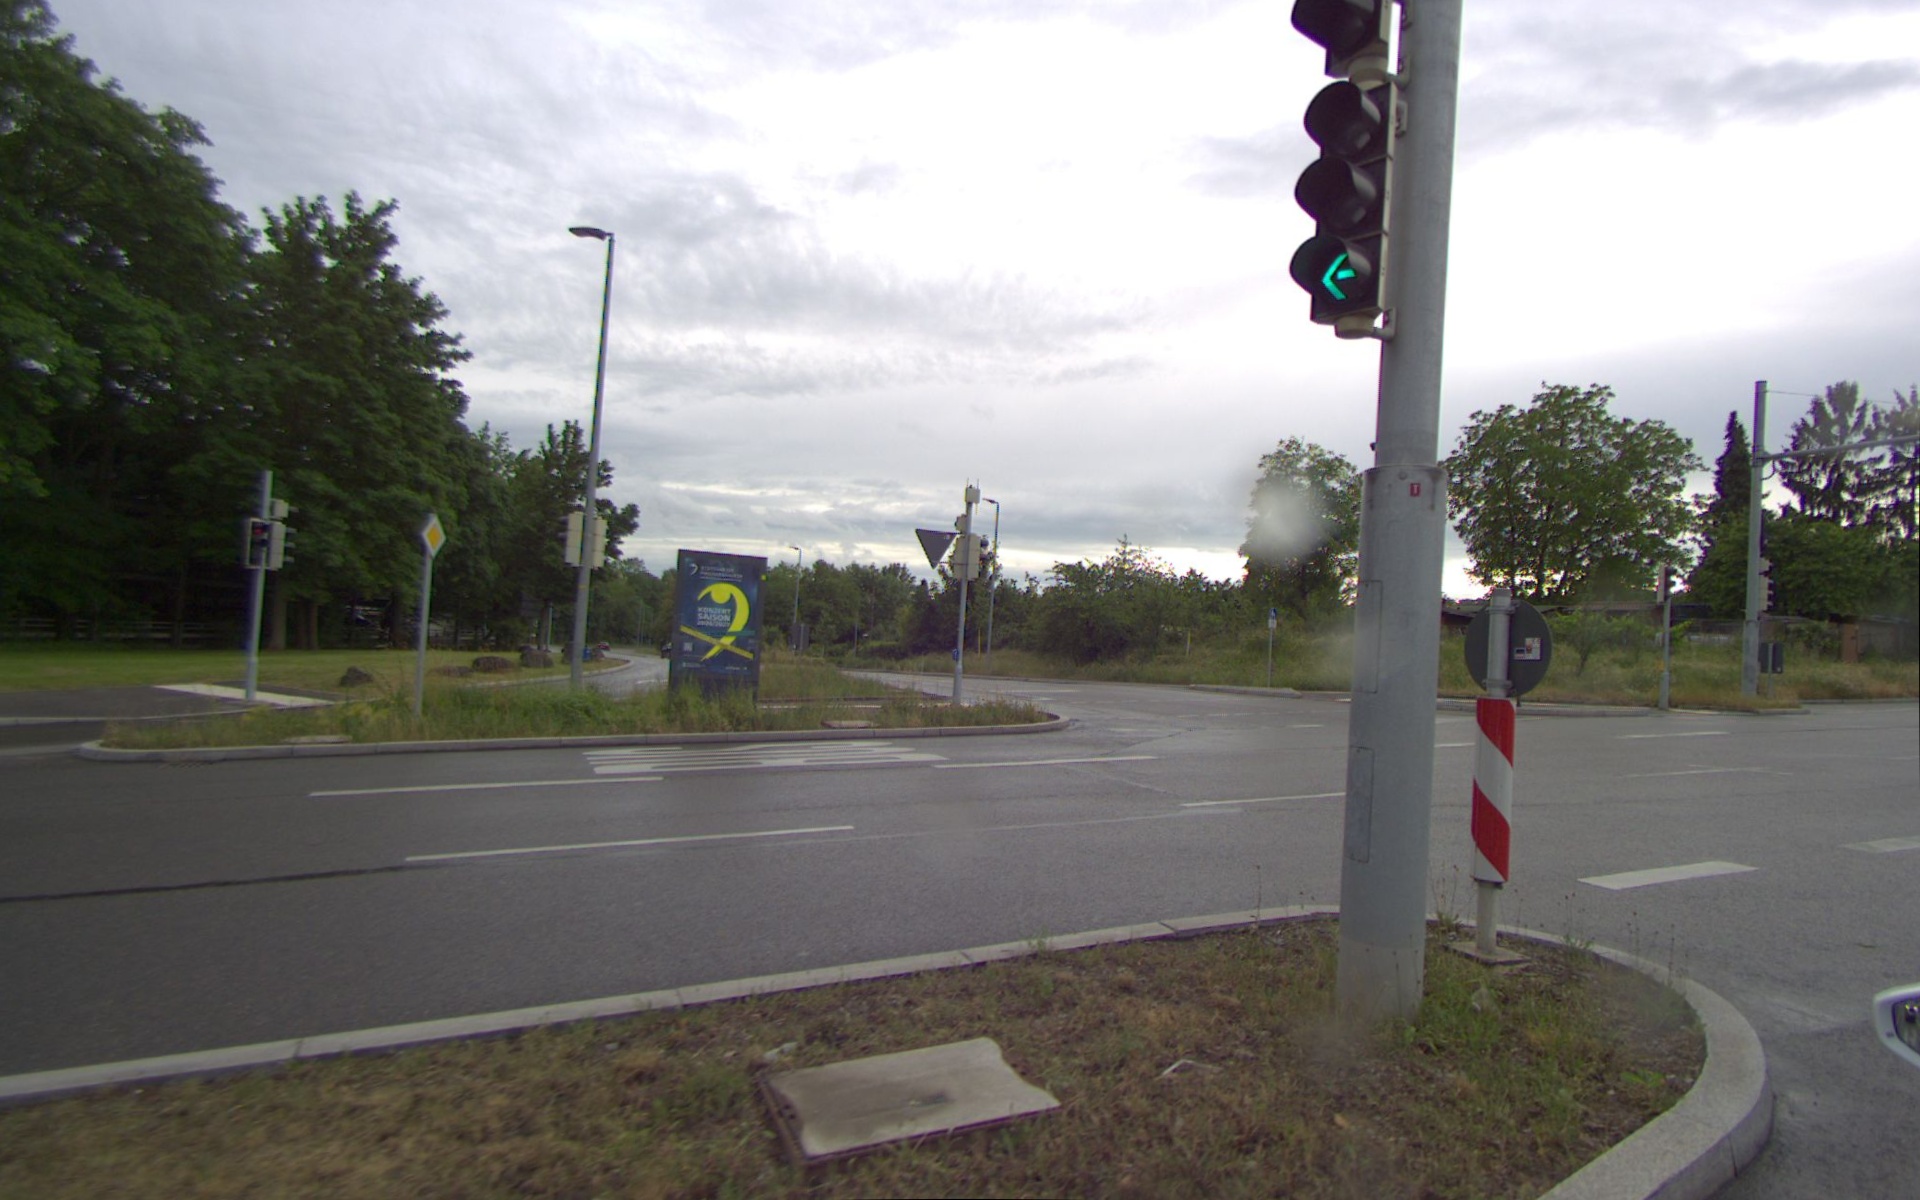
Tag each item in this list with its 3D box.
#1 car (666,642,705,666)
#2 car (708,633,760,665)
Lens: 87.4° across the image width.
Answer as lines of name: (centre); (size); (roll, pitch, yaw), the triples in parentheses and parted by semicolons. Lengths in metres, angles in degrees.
car: (-22.513, 4.427, 82.321); (2.146, 1.603, 4.630); (4, -1, -27)
car: (-14.907, 3.198, 66.193); (2.060, 1.741, 4.163); (4, -1, -31)
